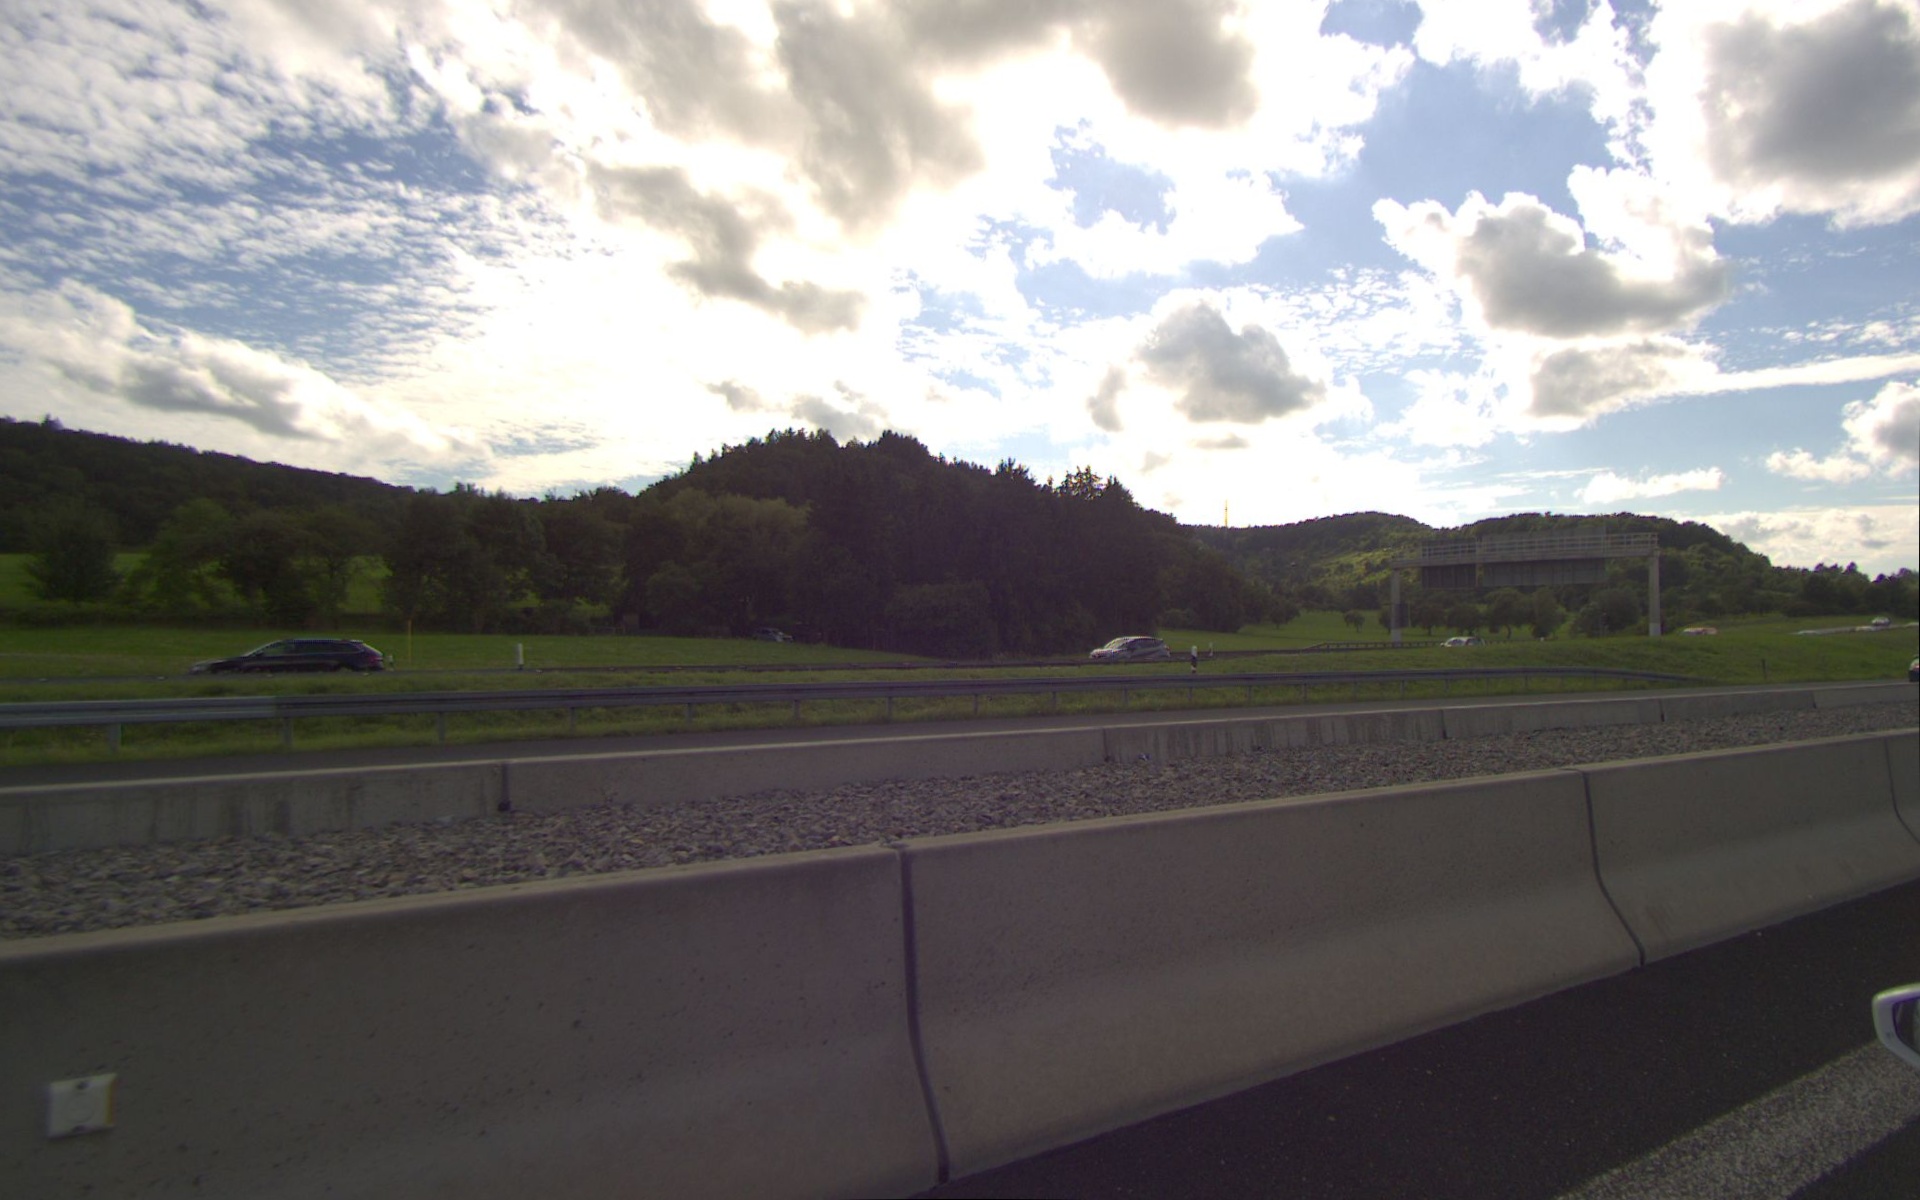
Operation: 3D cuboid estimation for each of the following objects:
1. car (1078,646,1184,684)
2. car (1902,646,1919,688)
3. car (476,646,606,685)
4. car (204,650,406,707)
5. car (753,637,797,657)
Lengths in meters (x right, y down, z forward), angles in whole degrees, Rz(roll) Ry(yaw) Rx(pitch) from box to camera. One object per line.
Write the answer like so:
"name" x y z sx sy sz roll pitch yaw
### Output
"car" 7.586 2.831 44.310 4.842 1.568 1.761 2 -3 -36
"car" 34.101 2.284 34.291 4.110 1.416 1.720 2 -3 -30
"car" -17.767 2.751 42.737 4.842 1.568 1.761 2 -3 -36
"car" -19.262 2.264 29.721 4.842 1.568 1.761 2 -3 -36
"car" -17.033 4.306 92.473 3.939 1.706 1.991 0 -1 40
